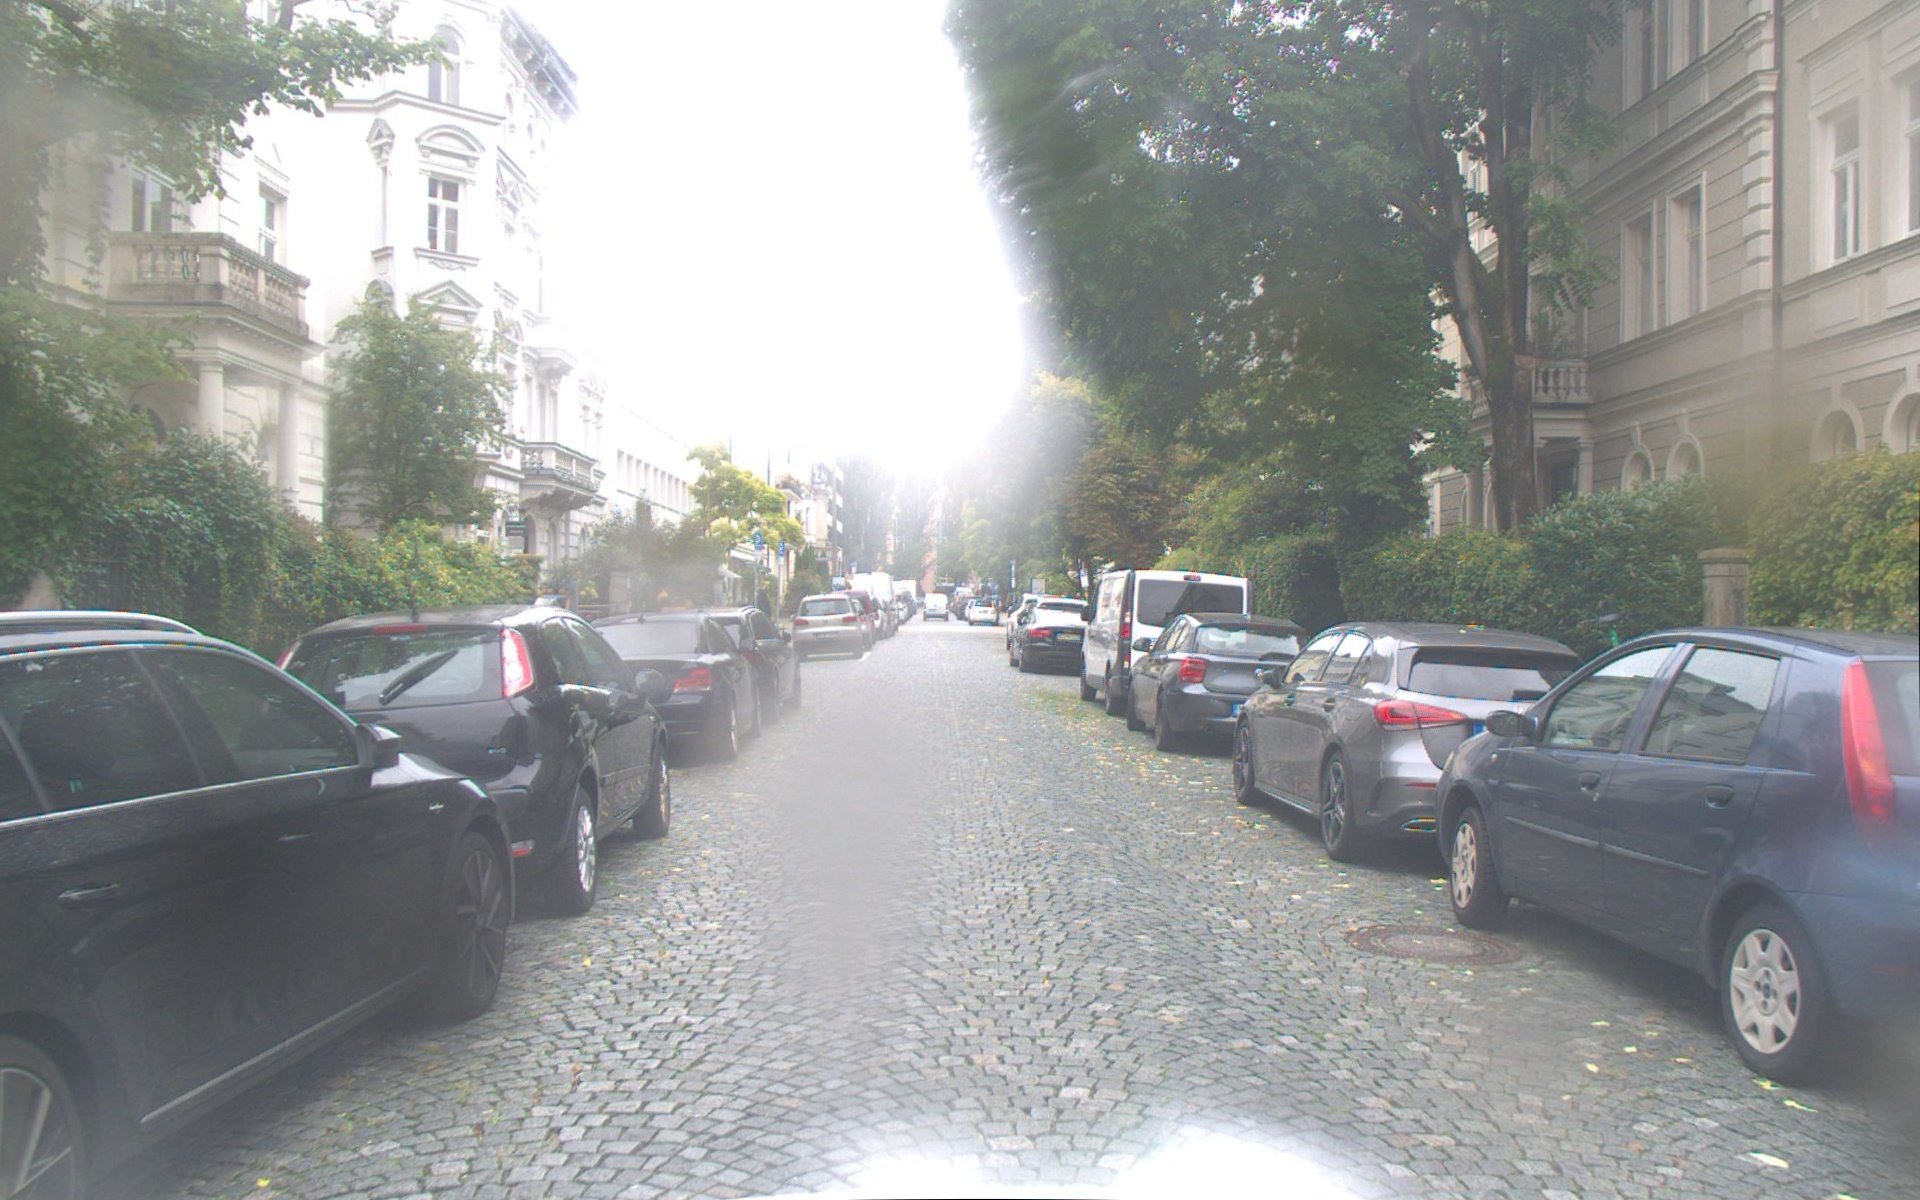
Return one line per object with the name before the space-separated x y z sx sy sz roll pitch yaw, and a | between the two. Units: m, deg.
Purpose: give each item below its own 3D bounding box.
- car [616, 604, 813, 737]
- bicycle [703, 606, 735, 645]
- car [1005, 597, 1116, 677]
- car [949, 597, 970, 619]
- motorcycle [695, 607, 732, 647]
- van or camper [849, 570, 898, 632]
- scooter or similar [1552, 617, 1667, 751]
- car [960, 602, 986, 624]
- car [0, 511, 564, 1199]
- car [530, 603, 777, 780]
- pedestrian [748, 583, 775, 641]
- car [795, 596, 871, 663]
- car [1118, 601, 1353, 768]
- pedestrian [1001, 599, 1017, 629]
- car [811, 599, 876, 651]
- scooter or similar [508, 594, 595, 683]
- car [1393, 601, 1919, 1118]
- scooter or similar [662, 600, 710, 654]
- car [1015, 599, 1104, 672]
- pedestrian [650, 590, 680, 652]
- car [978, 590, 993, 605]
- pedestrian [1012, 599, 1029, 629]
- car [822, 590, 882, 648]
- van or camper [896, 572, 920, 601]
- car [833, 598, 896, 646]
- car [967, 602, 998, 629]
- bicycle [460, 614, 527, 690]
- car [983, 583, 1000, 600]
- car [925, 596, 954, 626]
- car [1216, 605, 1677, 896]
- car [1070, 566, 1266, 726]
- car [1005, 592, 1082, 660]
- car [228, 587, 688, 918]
car | -3.062 0.830 21.484 1.848 1.442 4.406 -3 0 0
bicycle | -7.833 0.821 53.734 0.645 1.242 2.077 1 0 -19
car | 2.109 0.757 35.937 1.836 1.529 4.508 3 0 -3
car | -0.054 0.766 161.454 1.953 2.049 3.999 1 0 0
motorcycle | -7.685 0.829 51.570 0.609 1.217 1.866 1 0 8
van or camper | -3.959 0.048 76.380 1.953 2.698 3.999 -2 0 0
scooter or similar | 6.506 0.820 16.623 0.407 1.256 1.242 -2 0 -12
car | 0.920 0.937 118.190 1.753 1.547 3.999 1 0 0
car | -2.662 0.656 4.477 1.938 1.588 5.017 -1 0 0
car | -2.928 0.803 16.717 1.747 1.442 4.495 -3 0 -2
pedestrian | -6.797 0.398 56.707 0.776 1.951 0.758 2 0 -1
car | -3.317 0.733 43.751 1.836 1.607 4.253 -2 0 -3
car | 2.893 0.831 18.305 1.799 1.516 4.421 3 0 0
pedestrian | 3.382 0.966 114.536 0.843 2.049 0.986 1 0 -18
car | -3.461 0.724 49.771 1.836 1.476 4.205 -1 0 -3
scooter or similar | -7.187 0.654 29.229 0.922 1.467 2.655 2 0 -2
car | 3.341 0.792 6.844 1.661 1.465 4.057 3 0 -5
scooter or similar | -7.602 0.734 46.013 0.922 1.467 2.656 1 0 -1
car | 2.426 0.835 41.238 1.781 1.607 4.206 4 0 -2
pedestrian | -8.288 0.588 46.521 0.703 1.717 0.695 1 0 -2
car | 3.418 -0.314 225.036 1.953 2.049 3.999 1 -1 0
pedestrian | 4.213 0.983 114.983 0.843 2.049 0.986 1 0 -18
car | -3.628 0.621 56.173 1.835 1.807 4.121 -3 0 -2
van or camper | -5.023 -1.301 160.939 2.210 2.790 5.097 1 0 -1
car | -3.512 0.805 61.429 1.834 1.607 4.209 3 0 2
car | 1.327 0.922 97.533 1.753 1.547 3.999 1 0 0
bicycle | -7.464 0.814 26.533 0.565 1.142 2.050 1 0 -2
car | 3.760 -1.031 200.489 1.953 2.049 3.999 1 -1 0
car | -1.427 0.756 115.895 1.953 2.049 3.999 1 0 0
car | 3.009 0.837 11.222 1.679 1.498 4.267 3 0 -2
car | 2.844 0.596 23.837 1.836 1.962 5.161 3 0 -3
car | 2.356 0.732 47.823 1.835 1.763 4.592 3 0 -1
car | -2.605 0.687 9.560 1.629 1.469 4.168 -1 0 -4
